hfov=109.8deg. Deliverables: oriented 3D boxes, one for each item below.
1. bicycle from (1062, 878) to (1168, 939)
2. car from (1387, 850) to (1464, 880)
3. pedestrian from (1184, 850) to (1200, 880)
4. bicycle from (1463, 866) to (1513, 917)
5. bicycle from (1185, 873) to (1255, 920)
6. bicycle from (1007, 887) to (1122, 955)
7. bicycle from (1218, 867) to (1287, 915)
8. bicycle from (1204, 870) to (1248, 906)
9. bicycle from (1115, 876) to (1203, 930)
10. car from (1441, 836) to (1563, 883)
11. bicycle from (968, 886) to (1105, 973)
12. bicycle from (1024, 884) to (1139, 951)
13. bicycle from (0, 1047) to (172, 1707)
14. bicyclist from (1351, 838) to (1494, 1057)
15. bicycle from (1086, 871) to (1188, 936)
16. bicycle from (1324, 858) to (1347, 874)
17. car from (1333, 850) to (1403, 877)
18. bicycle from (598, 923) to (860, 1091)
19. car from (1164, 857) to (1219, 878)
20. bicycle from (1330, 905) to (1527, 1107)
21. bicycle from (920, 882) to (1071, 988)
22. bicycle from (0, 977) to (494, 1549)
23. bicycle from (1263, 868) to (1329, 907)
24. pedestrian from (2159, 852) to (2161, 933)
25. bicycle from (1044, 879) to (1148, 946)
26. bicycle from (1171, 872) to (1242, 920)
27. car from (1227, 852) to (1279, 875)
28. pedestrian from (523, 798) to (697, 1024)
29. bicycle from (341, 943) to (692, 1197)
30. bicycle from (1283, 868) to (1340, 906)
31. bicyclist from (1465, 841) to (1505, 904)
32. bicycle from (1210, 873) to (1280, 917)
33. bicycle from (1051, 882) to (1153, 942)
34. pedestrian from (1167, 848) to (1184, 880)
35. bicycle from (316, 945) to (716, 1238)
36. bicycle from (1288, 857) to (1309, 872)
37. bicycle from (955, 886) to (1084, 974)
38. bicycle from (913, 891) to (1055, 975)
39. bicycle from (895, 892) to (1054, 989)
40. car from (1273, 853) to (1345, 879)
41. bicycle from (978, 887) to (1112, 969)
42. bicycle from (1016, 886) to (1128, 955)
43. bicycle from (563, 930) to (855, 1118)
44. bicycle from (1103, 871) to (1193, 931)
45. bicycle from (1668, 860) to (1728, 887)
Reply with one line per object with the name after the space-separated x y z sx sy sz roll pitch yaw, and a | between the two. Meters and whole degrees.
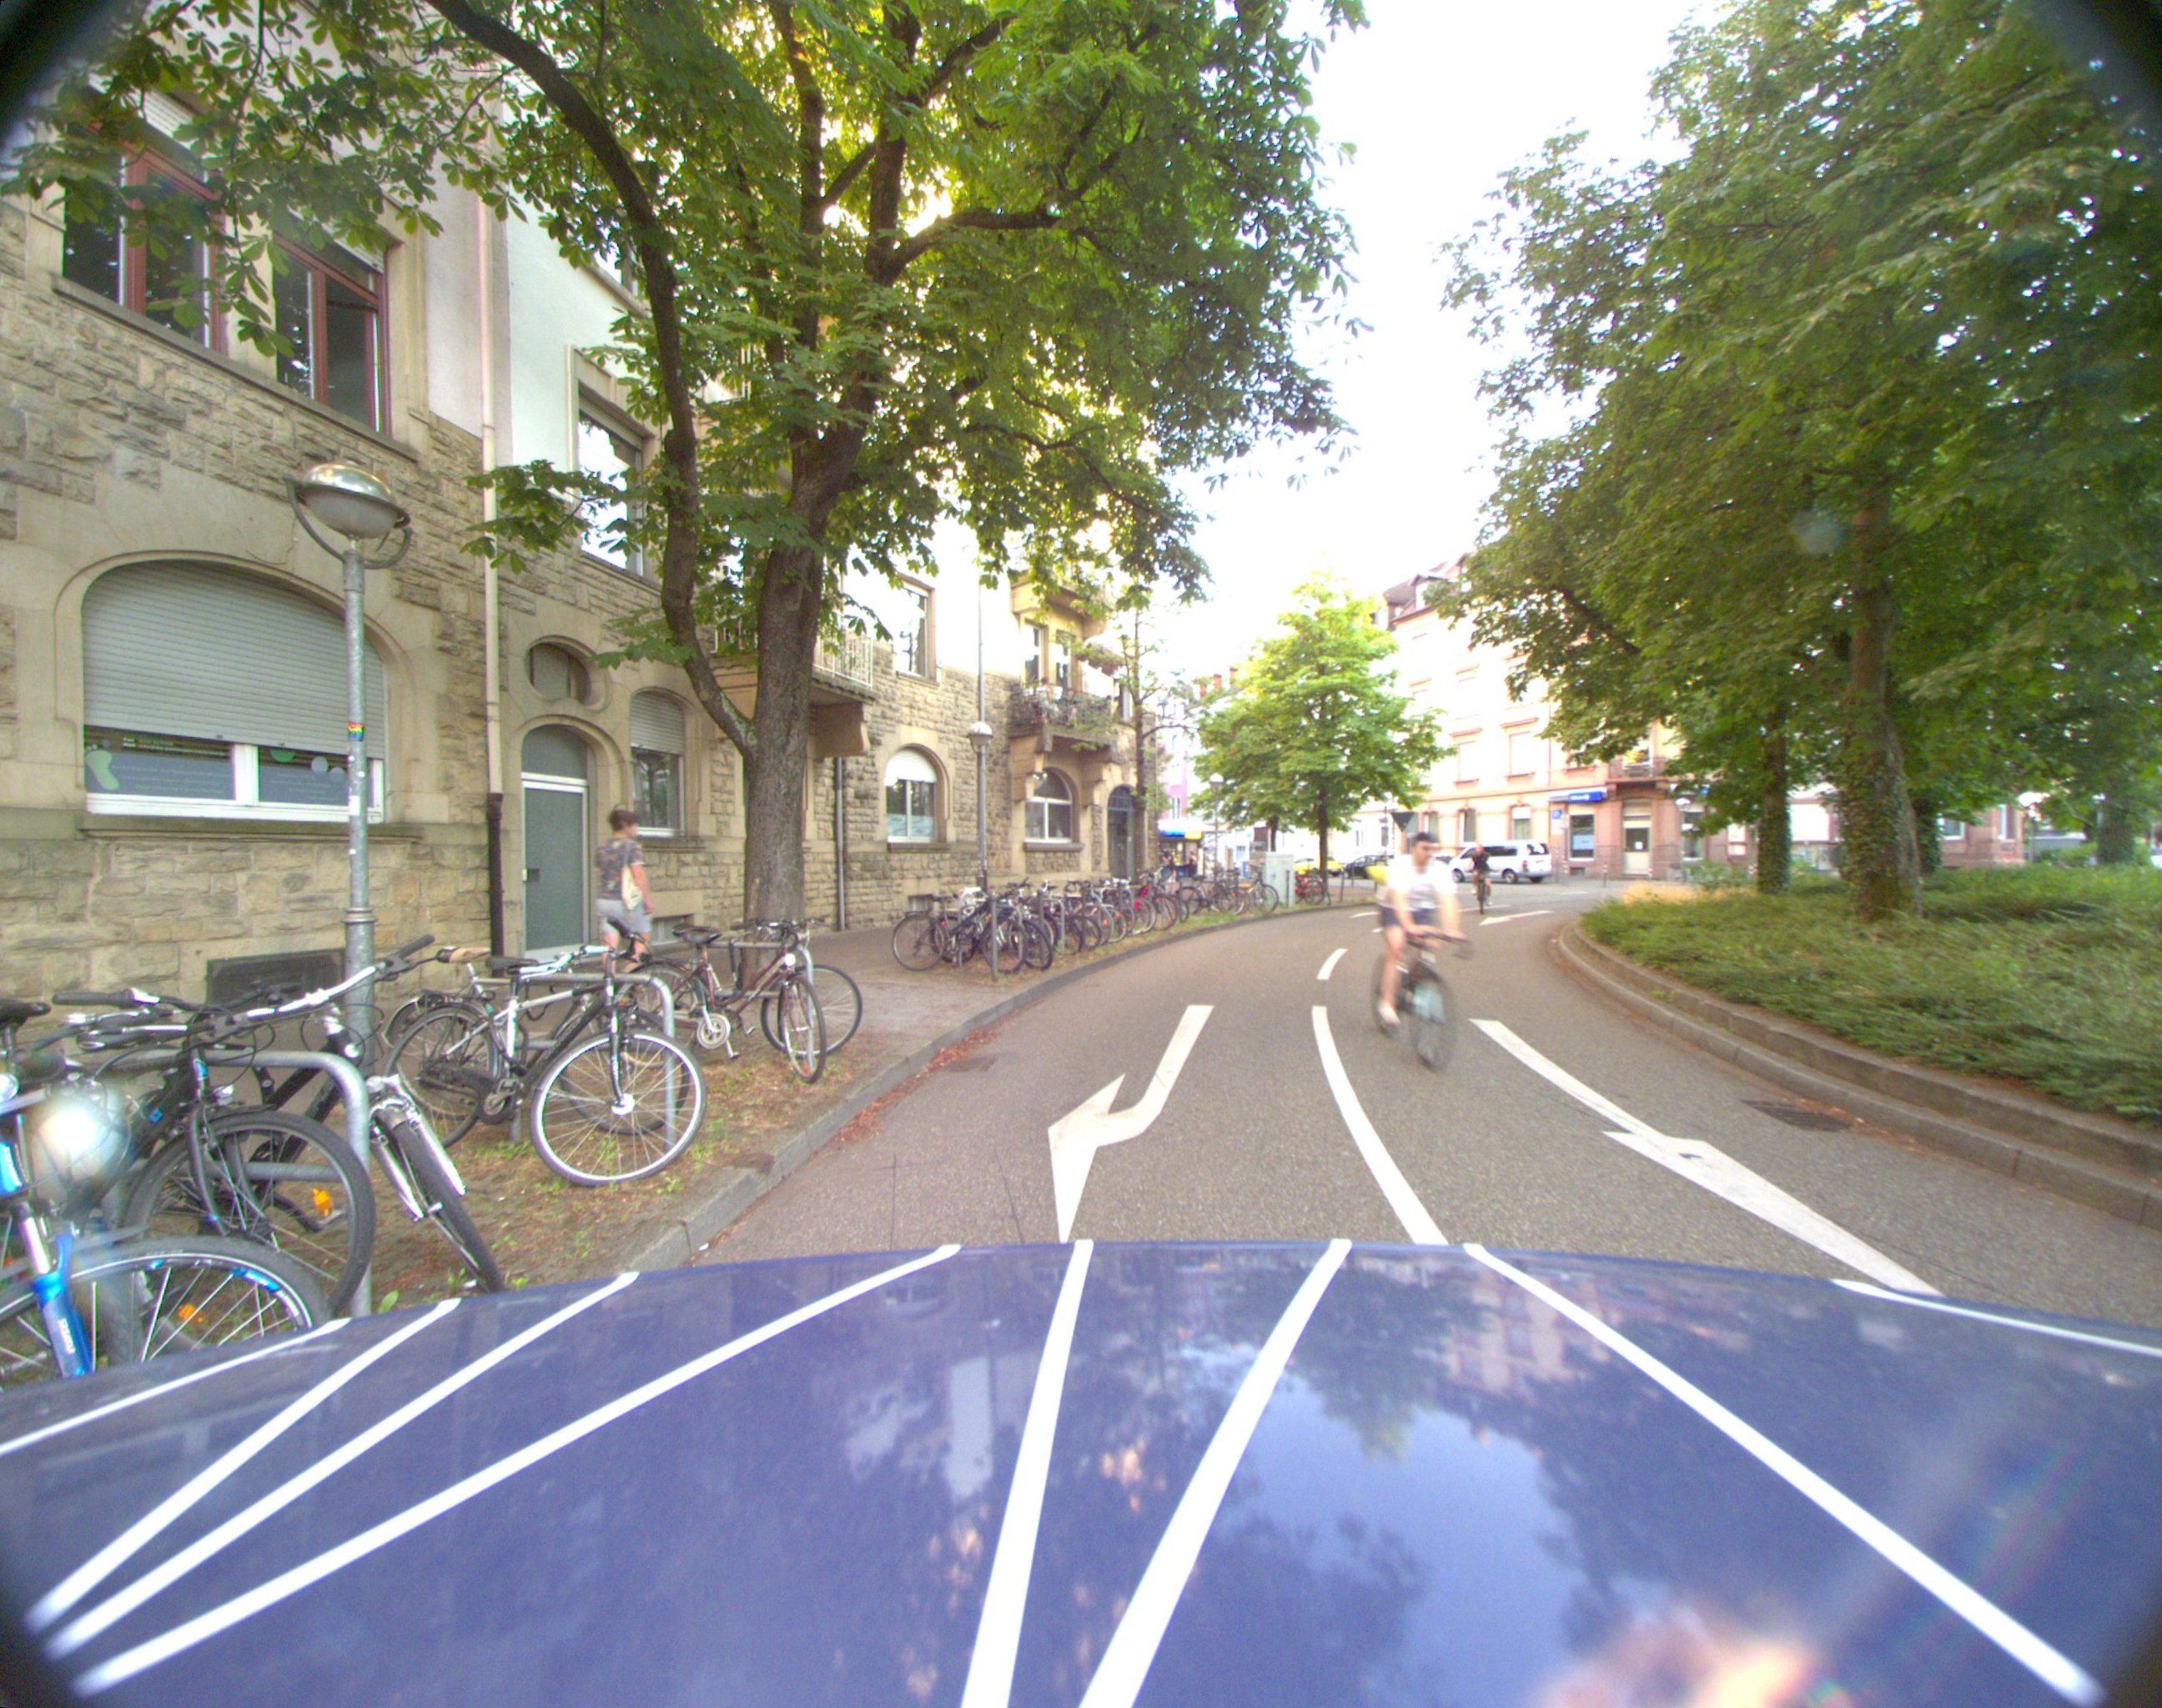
0.626 1.006 14.283 1.916 1.058 0.553 0 1 26 | bicycle
18.720 0.573 41.460 1.691 1.483 3.607 -2 1 -22 | car
5.702 0.542 39.015 0.589 1.530 0.680 0 1 39 | pedestrian
9.851 0.876 18.466 0.685 1.144 2.118 -1 0 17 | bicycle
3.321 1.000 18.206 1.603 1.057 0.420 0 1 32 | bicycle
-0.276 1.059 12.277 1.851 0.994 0.419 0 1 24 | bicycle
4.304 0.917 19.159 1.603 1.141 0.556 0 1 36 | bicycle
4.183 0.962 21.798 0.431 0.963 1.730 0 1 41 | bicycle
1.613 0.998 15.883 1.792 1.057 0.448 0 1 28 | bicycle
20.203 0.248 36.756 2.049 2.045 4.996 -2 1 -20 | car
-0.649 1.088 11.125 1.851 1.126 0.418 0 20 24 | bicycle
-0.005 1.057 13.008 1.916 1.055 0.536 0 1 25 | bicycle
-2.939 1.007 1.439 1.889 1.156 0.641 0 1 8 | bicycle
2.525 0.648 5.722 0.685 1.503 0.973 -1 0 4 | bicyclist
1.081 0.940 14.874 1.916 1.193 0.553 0 1 26 | bicycle
17.646 0.824 52.735 0.481 1.133 1.860 0 0 -20 | bicycle
17.025 0.541 45.216 1.736 1.483 3.735 -2 1 -25 | car
-2.484 1.055 5.419 1.673 1.072 0.486 0 1 6 | bicycle
8.417 1.013 58.322 2.002 1.508 4.832 0 0 -21 | car
2.543 1.030 5.867 0.685 1.144 2.116 -1 0 4 | bicycle
-1.112 1.011 9.799 1.880 1.211 0.492 0 7 24 | bicycle
-2.862 1.006 2.198 1.889 1.156 0.705 0 1 8 | bicycle
6.187 0.942 21.925 0.433 1.033 1.894 -1 1 -42 | bicycle
19.249 0.666 13.081 0.619 1.423 0.654 -1 0 -20 | pedestrian
0.243 1.012 13.493 1.850 1.110 0.420 0 1 28 | bicycle
2.962 0.979 17.983 1.603 1.069 0.420 0 1 32 | bicycle
12.680 0.713 56.254 1.807 1.583 4.138 -3 1 -20 | car
-4.653 0.527 7.584 1.012 2.073 1.061 1 0 10 | pedestrian
-2.907 1.044 3.926 1.672 1.072 0.487 0 1 14 | bicycle
6.645 0.929 21.974 0.433 1.033 1.603 -1 1 -42 | bicycle
9.935 0.445 18.712 0.685 1.503 0.974 -1 0 17 | bicyclist
4.047 0.991 18.799 1.603 1.014 0.556 0 1 36 | bicycle
0.361 1.031 13.798 1.850 1.008 0.420 0 1 28 | bicycle
4.826 0.521 38.832 0.589 1.627 0.680 0 1 39 | pedestrian
-2.621 1.012 3.550 1.672 1.120 0.487 0 -6 15 | bicycle
16.180 0.797 56.601 0.481 1.133 1.860 0 0 -20 | bicycle
-0.890 1.048 10.790 1.851 1.138 0.419 0 1 24 | bicycle
-1.299 1.067 10.400 1.854 1.098 0.574 0 1 1 | bicycle
-1.310 1.063 9.408 1.882 1.132 0.493 -2 -3 11 | bicycle
14.976 0.779 50.238 1.846 1.517 4.792 -3 1 -23 | car
-0.545 1.090 11.382 1.851 1.088 0.418 0 20 24 | bicycle
-0.161 1.066 12.545 1.851 1.045 0.419 0 1 24 | bicycle
-2.362 1.052 4.886 1.673 1.072 0.486 0 1 6 | bicycle
1.357 0.942 15.559 1.792 1.161 0.448 0 1 28 | bicycle
25.062 0.772 30.883 0.561 1.076 1.793 -2 1 -34 | bicycle
